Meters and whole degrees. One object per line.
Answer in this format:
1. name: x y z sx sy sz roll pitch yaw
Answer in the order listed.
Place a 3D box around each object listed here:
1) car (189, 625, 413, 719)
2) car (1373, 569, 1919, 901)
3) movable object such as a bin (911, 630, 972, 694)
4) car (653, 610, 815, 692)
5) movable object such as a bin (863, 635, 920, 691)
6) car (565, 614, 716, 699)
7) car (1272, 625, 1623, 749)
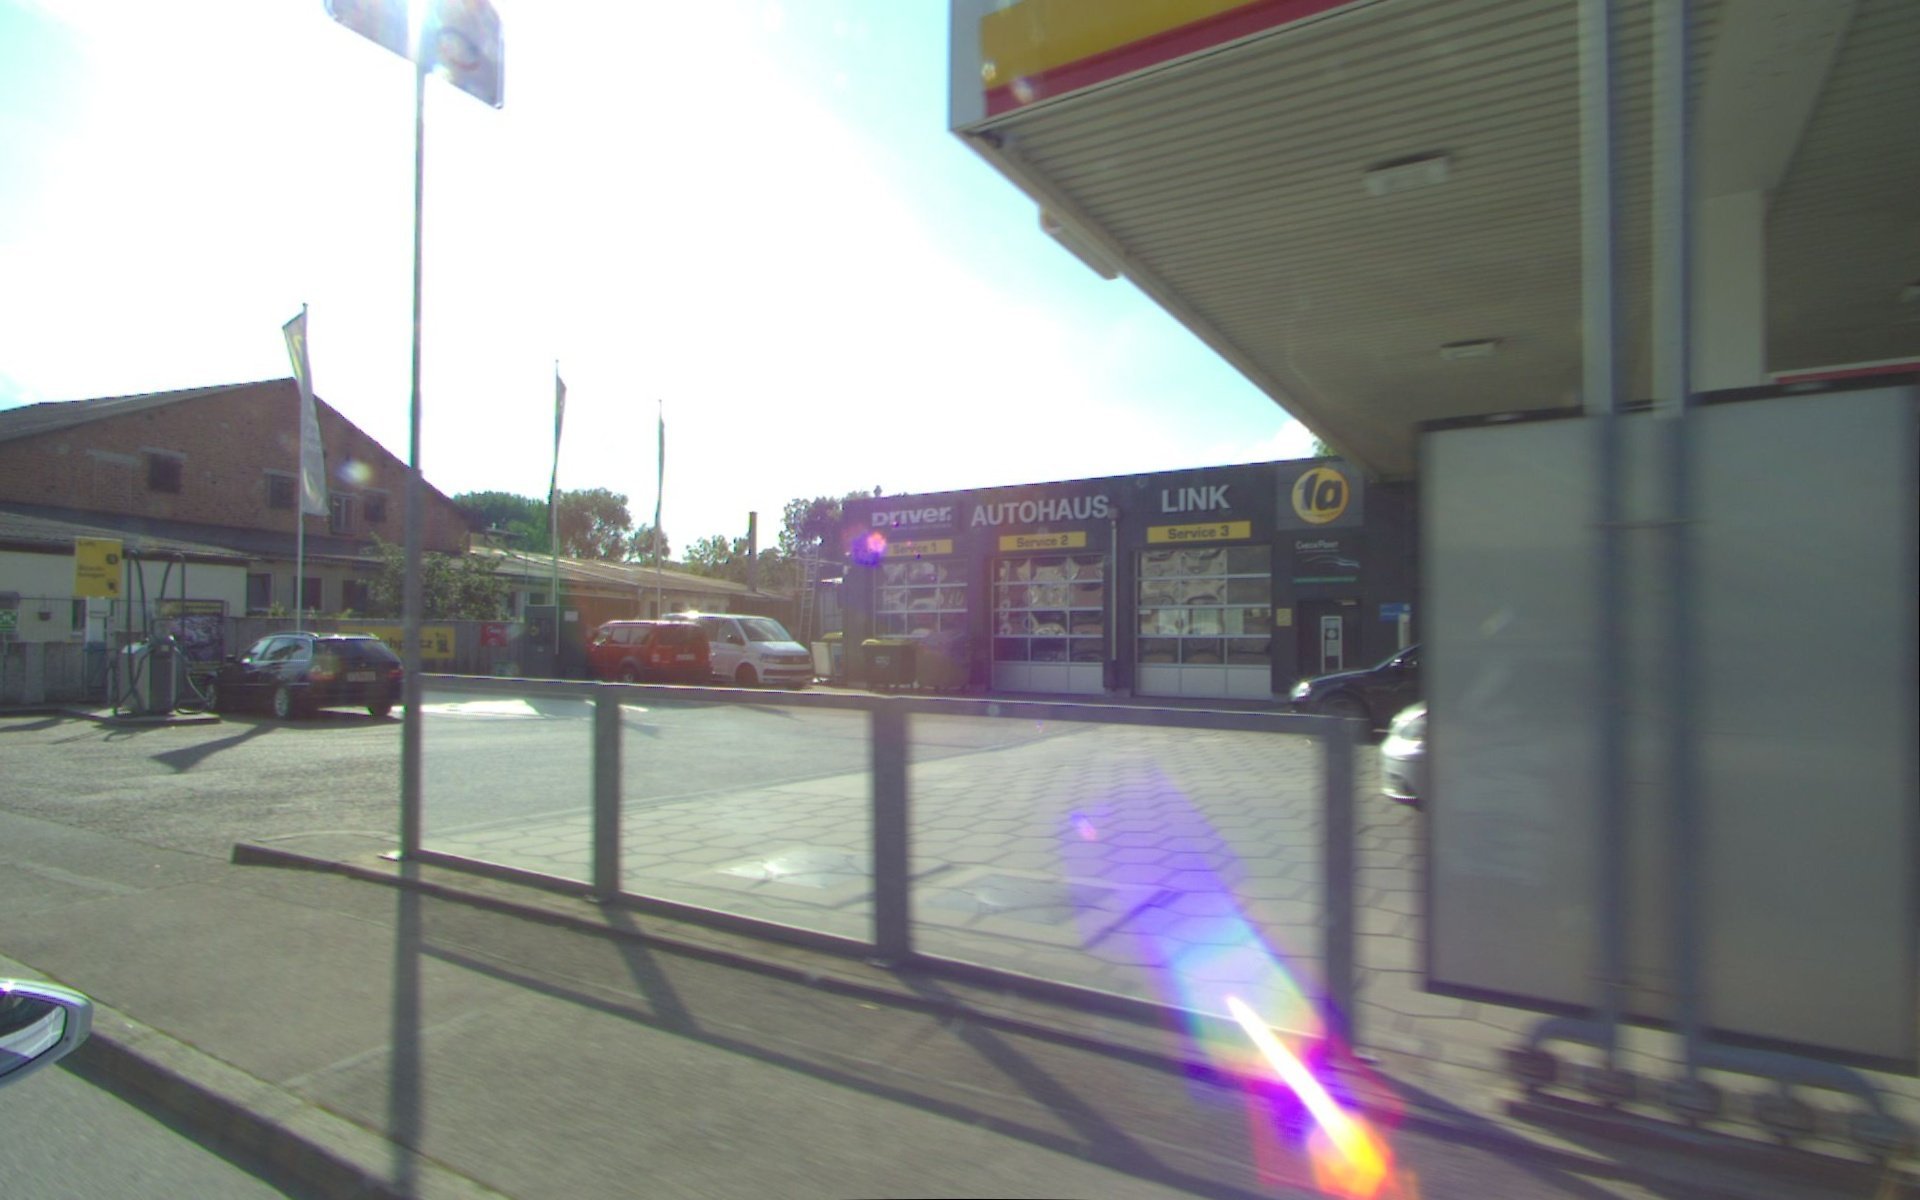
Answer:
1. car: -11.659 1.211 17.637 4.317 1.445 1.576 0 -3 31
2. car: 4.647 0.676 5.807 3.942 1.598 1.669 0 -1 33
3. movable object such as a bin: -0.456 1.522 24.987 1.192 1.549 0.986 0 -1 32
4. car: -6.010 1.272 26.373 4.491 1.949 1.573 0 -1 36
5. movable object such as a bin: -1.774 1.619 25.937 1.110 1.393 0.988 0 -1 27
6. car: -7.578 1.284 23.654 3.583 1.816 1.573 0 -1 36
7. car: 6.306 1.091 13.170 3.943 1.418 1.534 -2 -2 33
